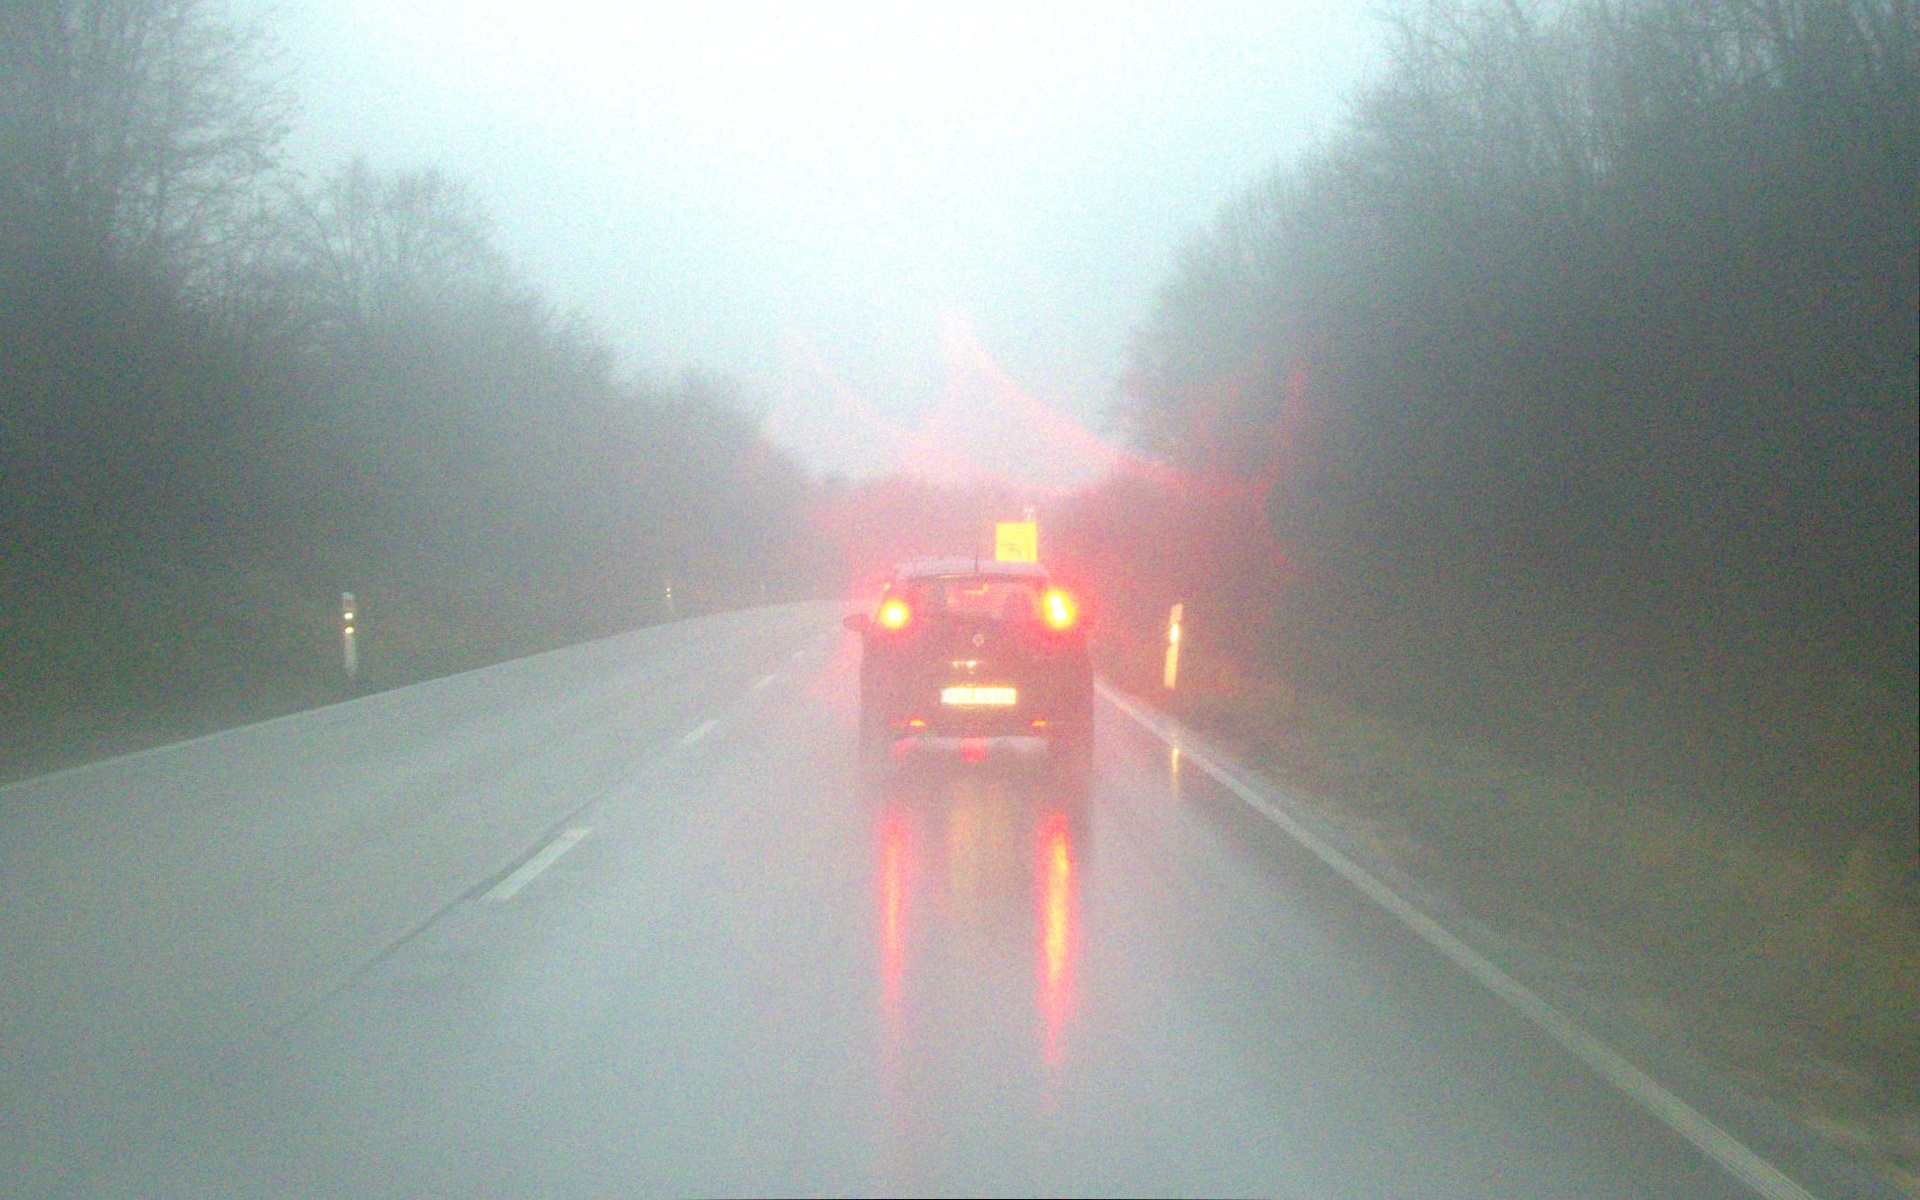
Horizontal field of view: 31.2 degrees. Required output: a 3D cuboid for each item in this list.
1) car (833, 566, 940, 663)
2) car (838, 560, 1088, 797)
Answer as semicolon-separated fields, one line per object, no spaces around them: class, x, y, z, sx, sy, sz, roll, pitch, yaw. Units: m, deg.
car;-1.256;0.229;60.224;1.728;1.638;4.000;0;0;1
car;0.047;0.529;25.882;1.728;1.638;4.000;0;0;1
